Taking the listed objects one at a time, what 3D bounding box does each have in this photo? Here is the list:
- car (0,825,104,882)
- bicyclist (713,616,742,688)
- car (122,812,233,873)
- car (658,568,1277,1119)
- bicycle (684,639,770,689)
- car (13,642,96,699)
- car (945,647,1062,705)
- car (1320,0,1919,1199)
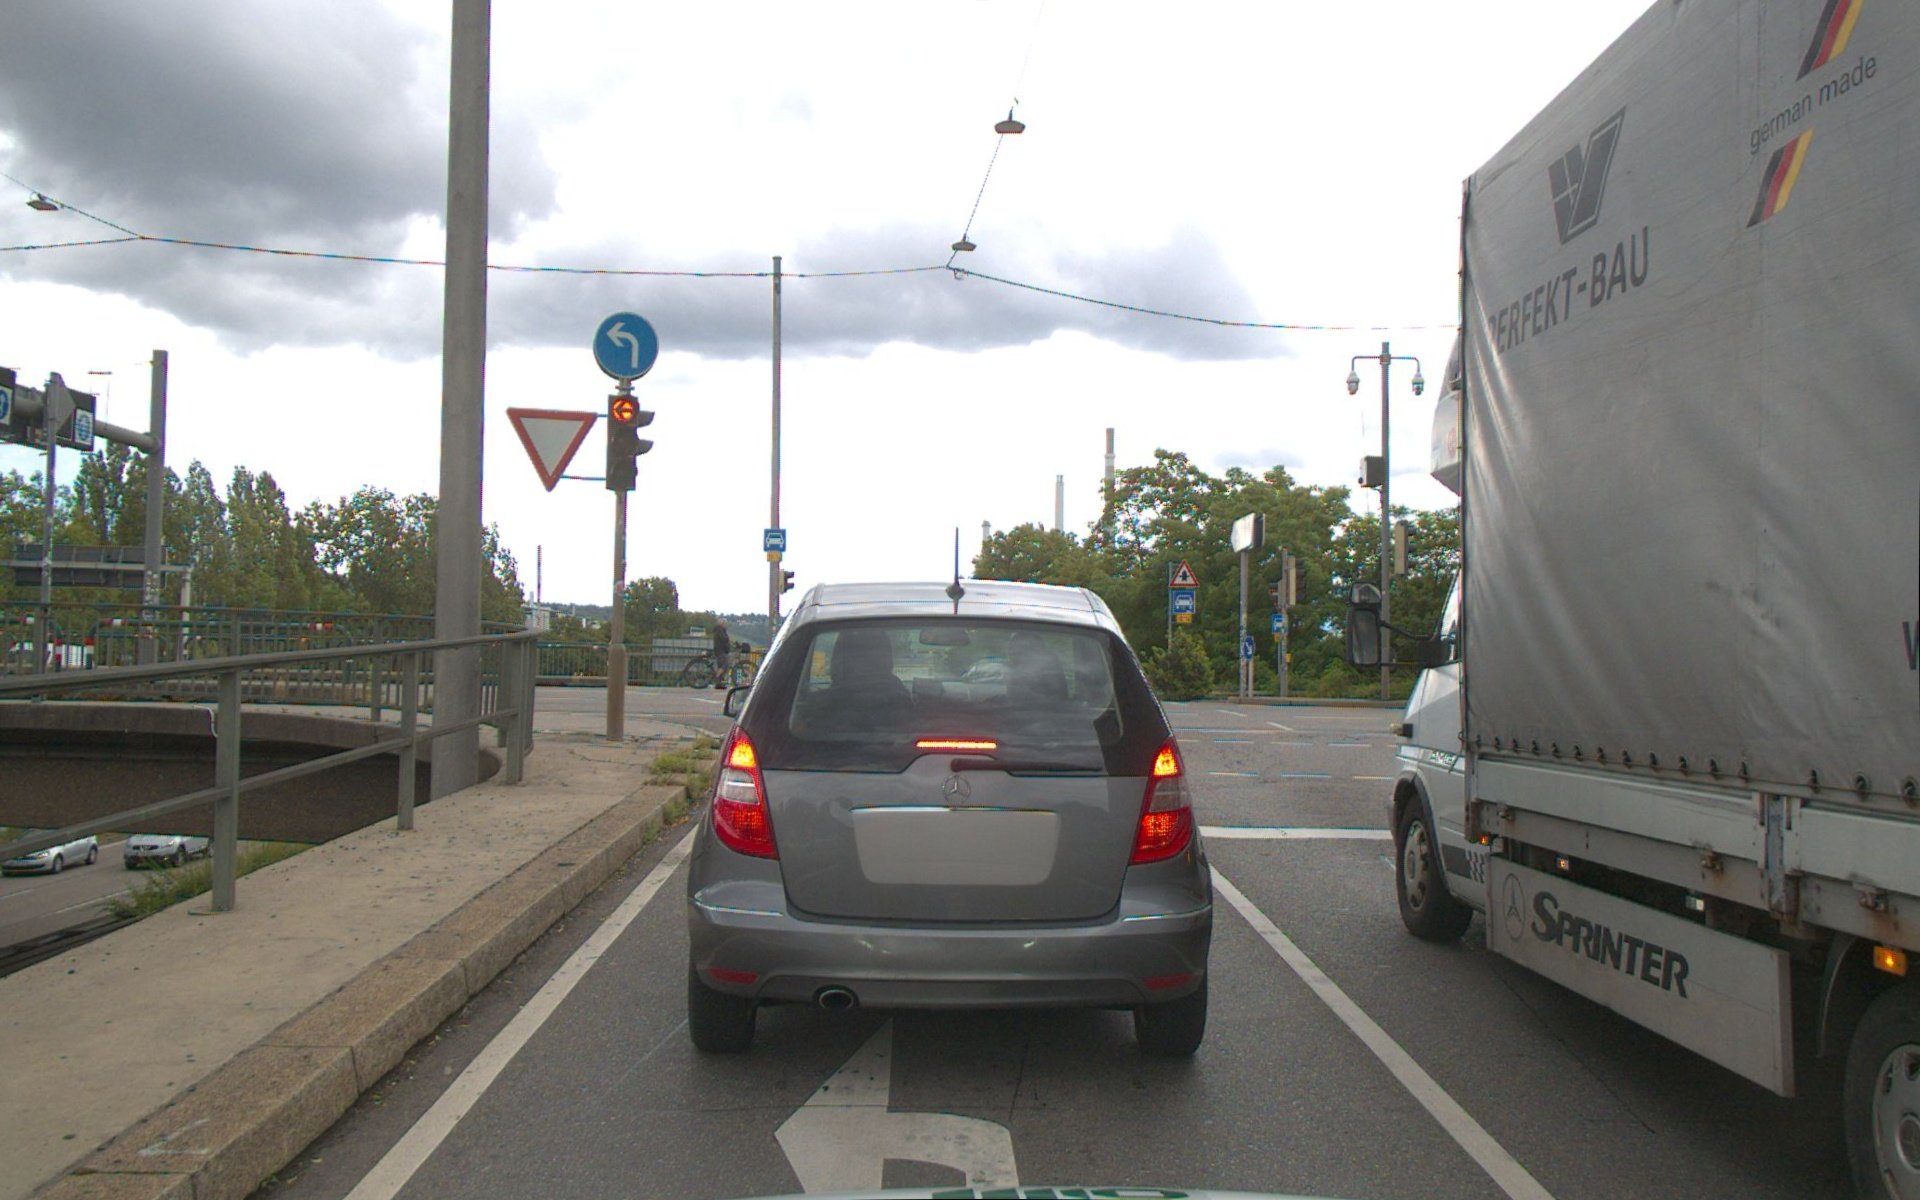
[{"bbox_3d":[-30.800,8.534,55.941,1.648,1.482,3.920,0,-2,-1],"label":"car"},{"bbox_3d":[-5.617,1.250,39.962,0.641,1.703,0.867,0,0,-11],"label":"bicyclist"},{"bbox_3d":[-27.240,8.420,57.748,1.848,1.644,4.305,0,-2,-1],"label":"car"},{"bbox_3d":[0.067,0.690,6.884,1.819,1.616,4.001,0,1,1],"label":"car"},{"bbox_3d":[-5.630,1.540,39.949,1.996,1.144,0.927,0,0,-12],"label":"bicycle"},{"bbox_3d":[-38.967,3.016,71.249,1.819,2.254,3.659,0,0,-5],"label":"car"},{"bbox_3d":[1.504,2.685,59.573,1.975,1.802,5.194,0,1,-27],"label":"car"},{"bbox_3d":[3.219,-0.185,5.083,2.604,3.388,7.089,1,0,-1],"label":"car"}]
